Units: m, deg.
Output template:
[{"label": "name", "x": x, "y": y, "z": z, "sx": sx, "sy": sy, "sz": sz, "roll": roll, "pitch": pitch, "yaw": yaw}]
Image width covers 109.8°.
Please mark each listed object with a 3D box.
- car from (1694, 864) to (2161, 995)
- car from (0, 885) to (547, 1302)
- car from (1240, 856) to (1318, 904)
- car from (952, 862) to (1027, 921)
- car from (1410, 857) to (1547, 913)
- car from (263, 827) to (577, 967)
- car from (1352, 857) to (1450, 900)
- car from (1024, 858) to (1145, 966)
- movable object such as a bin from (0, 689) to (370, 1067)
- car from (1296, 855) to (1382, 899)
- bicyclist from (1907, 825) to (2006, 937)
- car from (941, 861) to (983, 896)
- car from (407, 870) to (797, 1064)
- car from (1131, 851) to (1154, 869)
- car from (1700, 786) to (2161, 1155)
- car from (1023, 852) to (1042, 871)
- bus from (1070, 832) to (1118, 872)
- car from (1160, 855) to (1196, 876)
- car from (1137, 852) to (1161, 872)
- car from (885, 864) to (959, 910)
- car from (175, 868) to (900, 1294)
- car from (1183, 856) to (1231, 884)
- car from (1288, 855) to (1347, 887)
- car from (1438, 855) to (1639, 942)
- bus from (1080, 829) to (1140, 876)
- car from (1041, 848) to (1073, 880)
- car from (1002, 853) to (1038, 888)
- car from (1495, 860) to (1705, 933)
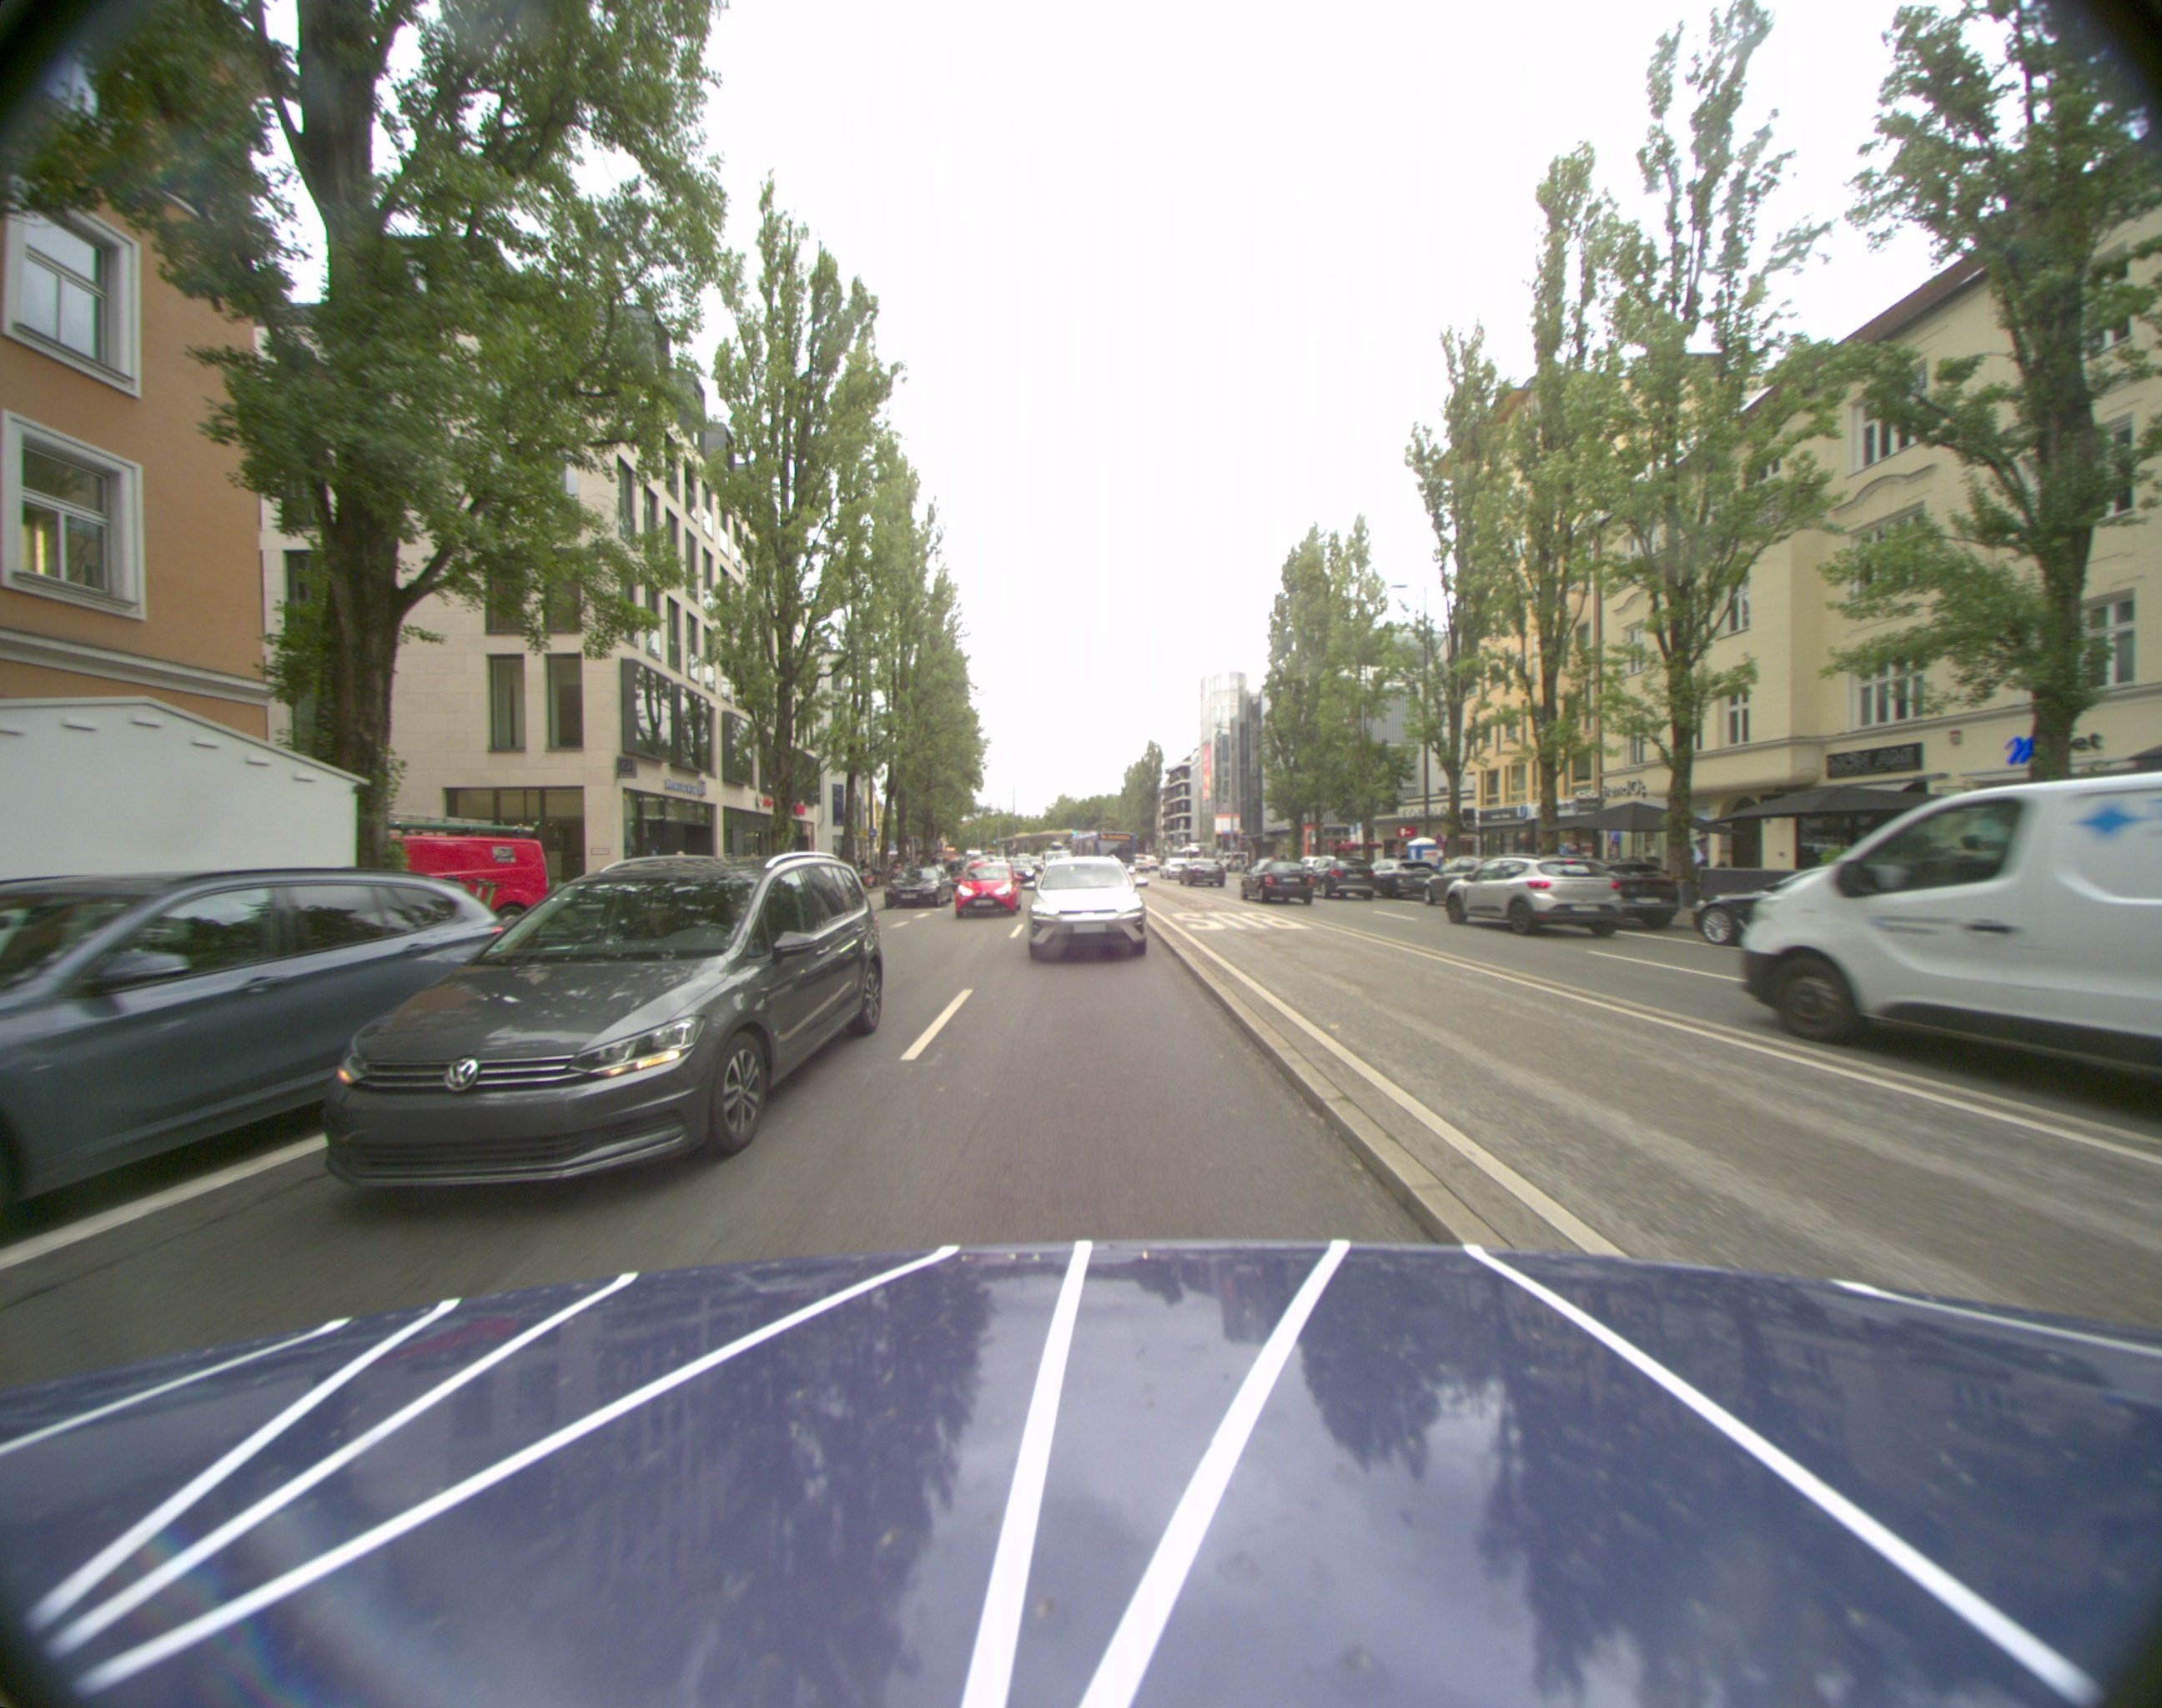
[{"label": "car", "x": 11.615, "y": 0.899, "z": 11.025, "sx": 1.802, "sy": 1.432, "sz": 4.574, "roll": 0, "pitch": 0, "yaw": 1}, {"label": "car", "x": -5.288, "y": 1.065, "z": 3.962, "sx": 1.789, "sy": 1.544, "sz": 4.498, "roll": -2, "pitch": 0, "yaw": 0}, {"label": "car", "x": 6.414, "y": 0.804, "z": 24.946, "sx": 1.616, "sy": 1.432, "sz": 3.596, "roll": 0, "pitch": 0, "yaw": 0}, {"label": "car", "x": -2.508, "y": 0.991, "z": 21.714, "sx": 1.616, "sy": 1.425, "sz": 4.003, "roll": -2, "pitch": 0, "yaw": 0}, {"label": "car", "x": 11.799, "y": 0.857, "z": 22.953, "sx": 1.802, "sy": 1.495, "sz": 4.574, "roll": 0, "pitch": 0, "yaw": 1}, {"label": "car", "x": -11.480, "y": 0.652, "z": 13.626, "sx": 1.682, "sy": 2.110, "sz": 4.004, "roll": -1, "pitch": 0, "yaw": 12}, {"label": "car", "x": 11.881, "y": 0.856, "z": 28.580, "sx": 1.802, "sy": 1.432, "sz": 4.574, "roll": 0, "pitch": 0, "yaw": 1}, {"label": "car", "x": 0.048, "y": 0.876, "z": 13.389, "sx": 1.742, "sy": 1.510, "sz": 4.033, "roll": -2, "pitch": 0, "yaw": 0}, {"label": "movable object such as a bin", "x": -10.108, "y": 0.185, "z": 7.193, "sx": 2.445, "sy": 3.119, "sz": 4.543, "roll": 1, "pitch": 0, "yaw": 1}, {"label": "car", "x": 9.577, "y": 0.803, "z": 28.569, "sx": 1.750, "sy": 1.509, "sz": 4.363, "roll": 0, "pitch": 0, "yaw": 0}, {"label": "bicyclist", "x": 13.721, "y": 0.403, "z": 11.930, "sx": 0.606, "sy": 1.695, "sz": 0.816, "roll": -1, "pitch": 1, "yaw": 1}, {"label": "car", "x": -5.808, "y": 1.154, "z": 37.523, "sx": 1.701, "sy": 1.507, "sz": 3.998, "roll": -2, "pitch": 1, "yaw": -5}, {"label": "car", "x": -5.187, "y": 1.073, "z": 9.150, "sx": 1.789, "sy": 1.604, "sz": 4.498, "roll": -2, "pitch": 0, "yaw": 0}, {"label": "car", "x": 5.782, "y": 0.548, "z": 71.900, "sx": 1.863, "sy": 1.606, "sz": 4.363, "roll": 0, "pitch": 0, "yaw": 0}, {"label": "car", "x": 6.600, "y": 0.623, "z": 4.395, "sx": 1.897, "sy": 1.921, "sz": 5.071, "roll": 1, "pitch": 0, "yaw": 1}, {"label": "car", "x": -4.533, "y": 0.676, "z": 70.671, "sx": 1.707, "sy": 1.683, "sz": 4.001, "roll": -2, "pitch": 0, "yaw": -5}, {"label": "bus", "x": 0.907, "y": -0.144, "z": 61.716, "sx": 2.691, "sy": 2.932, "sz": 10.046, "roll": -1, "pitch": 0, "yaw": -6}, {"label": "car", "x": 6.821, "y": 0.805, "z": 53.722, "sx": 1.782, "sy": 1.391, "sz": 4.081, "roll": 0, "pitch": 0, "yaw": -4}, {"label": "car", "x": 7.104, "y": 0.842, "z": 79.905, "sx": 1.999, "sy": 2.002, "sz": 3.999, "roll": -1, "pitch": 0, "yaw": -3}, {"label": "car", "x": -5.448, "y": 1.095, "z": 26.517, "sx": 1.700, "sy": 1.353, "sz": 4.003, "roll": -2, "pitch": 0, "yaw": 0}, {"label": "car", "x": -2.696, "y": 0.963, "z": 5.182, "sx": 1.882, "sy": 1.582, "sz": 4.192, "roll": -2, "pitch": 0, "yaw": 0}, {"label": "car", "x": 6.567, "y": 0.805, "z": 39.987, "sx": 1.781, "sy": 1.391, "sz": 4.363, "roll": 0, "pitch": 0, "yaw": 0}, {"label": "car", "x": 12.104, "y": 0.820, "z": 39.073, "sx": 1.802, "sy": 1.568, "sz": 4.104, "roll": 0, "pitch": 0, "yaw": 1}, {"label": "car", "x": 9.203, "y": 0.807, "z": 15.729, "sx": 1.718, "sy": 1.532, "sz": 4.076, "roll": 1, "pitch": 0, "yaw": 1}, {"label": "bus", "x": 1.842, "y": -0.106, "z": 52.724, "sx": 2.697, "sy": 2.932, "sz": 10.046, "roll": -1, "pitch": 0, "yaw": -6}, {"label": "car", "x": -1.466, "y": 0.569, "z": 47.981, "sx": 1.839, "sy": 1.831, "sz": 5.129, "roll": -2, "pitch": 1, "yaw": 0}, {"label": "car", "x": -3.145, "y": 0.804, "z": 39.067, "sx": 1.707, "sy": 1.683, "sz": 4.001, "roll": -2, "pitch": 0, "yaw": -5}, {"label": "car", "x": 11.744, "y": 0.874, "z": 17.661, "sx": 1.802, "sy": 1.432, "sz": 4.574, "roll": 0, "pitch": 0, "yaw": 1}]
